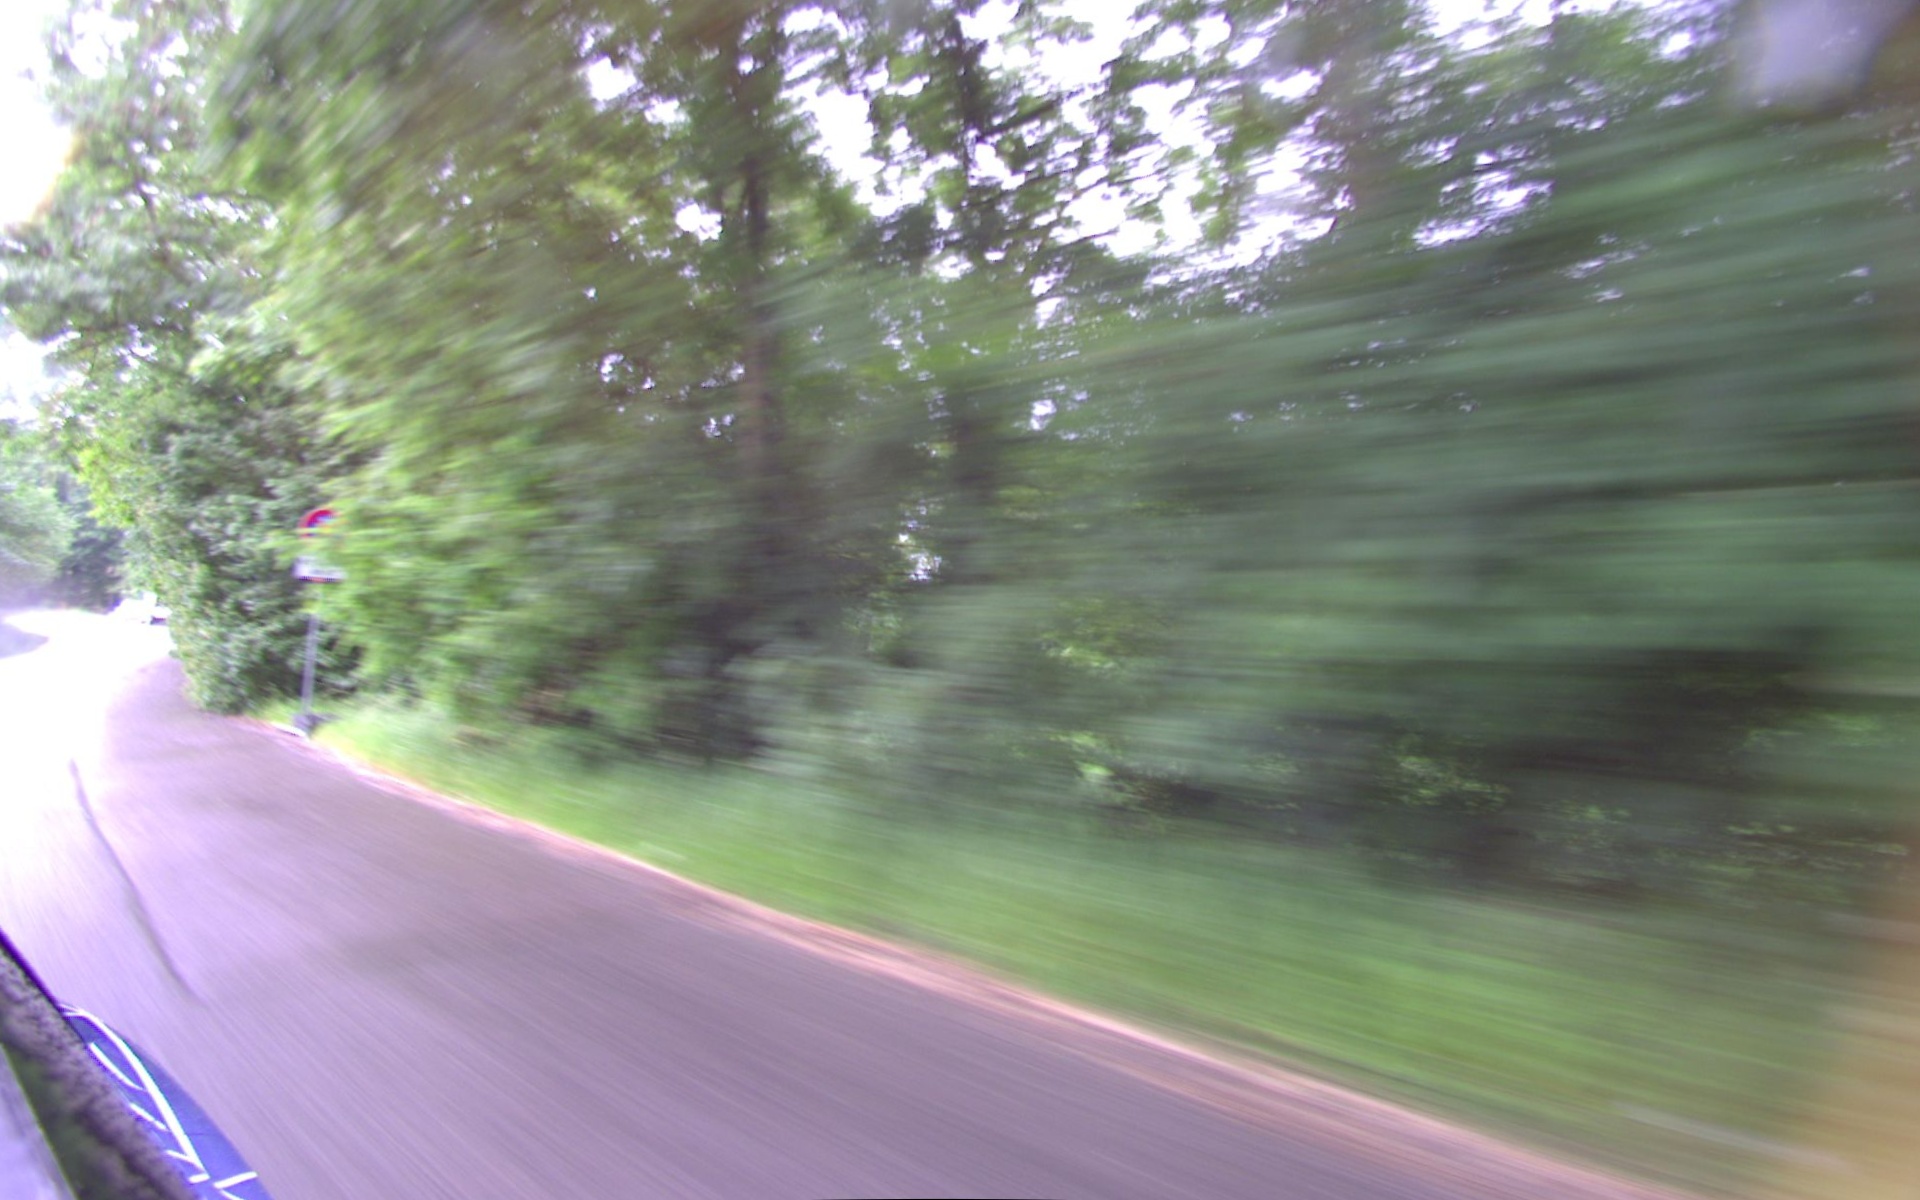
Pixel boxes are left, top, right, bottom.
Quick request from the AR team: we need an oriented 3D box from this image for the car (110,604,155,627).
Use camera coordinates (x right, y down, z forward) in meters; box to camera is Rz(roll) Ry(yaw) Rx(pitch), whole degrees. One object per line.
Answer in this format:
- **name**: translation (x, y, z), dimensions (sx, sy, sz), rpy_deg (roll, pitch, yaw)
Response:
- **car**: translation (-62.990, 1.173, 77.033), dimensions (4.559, 1.592, 2.074), rpy_deg (0, -4, 44)

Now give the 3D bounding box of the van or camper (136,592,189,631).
- **van or camper**: translation (-55.403, 0.784, 70.253), dimensions (4.839, 2.535, 2.171), rpy_deg (0, -4, 44)
